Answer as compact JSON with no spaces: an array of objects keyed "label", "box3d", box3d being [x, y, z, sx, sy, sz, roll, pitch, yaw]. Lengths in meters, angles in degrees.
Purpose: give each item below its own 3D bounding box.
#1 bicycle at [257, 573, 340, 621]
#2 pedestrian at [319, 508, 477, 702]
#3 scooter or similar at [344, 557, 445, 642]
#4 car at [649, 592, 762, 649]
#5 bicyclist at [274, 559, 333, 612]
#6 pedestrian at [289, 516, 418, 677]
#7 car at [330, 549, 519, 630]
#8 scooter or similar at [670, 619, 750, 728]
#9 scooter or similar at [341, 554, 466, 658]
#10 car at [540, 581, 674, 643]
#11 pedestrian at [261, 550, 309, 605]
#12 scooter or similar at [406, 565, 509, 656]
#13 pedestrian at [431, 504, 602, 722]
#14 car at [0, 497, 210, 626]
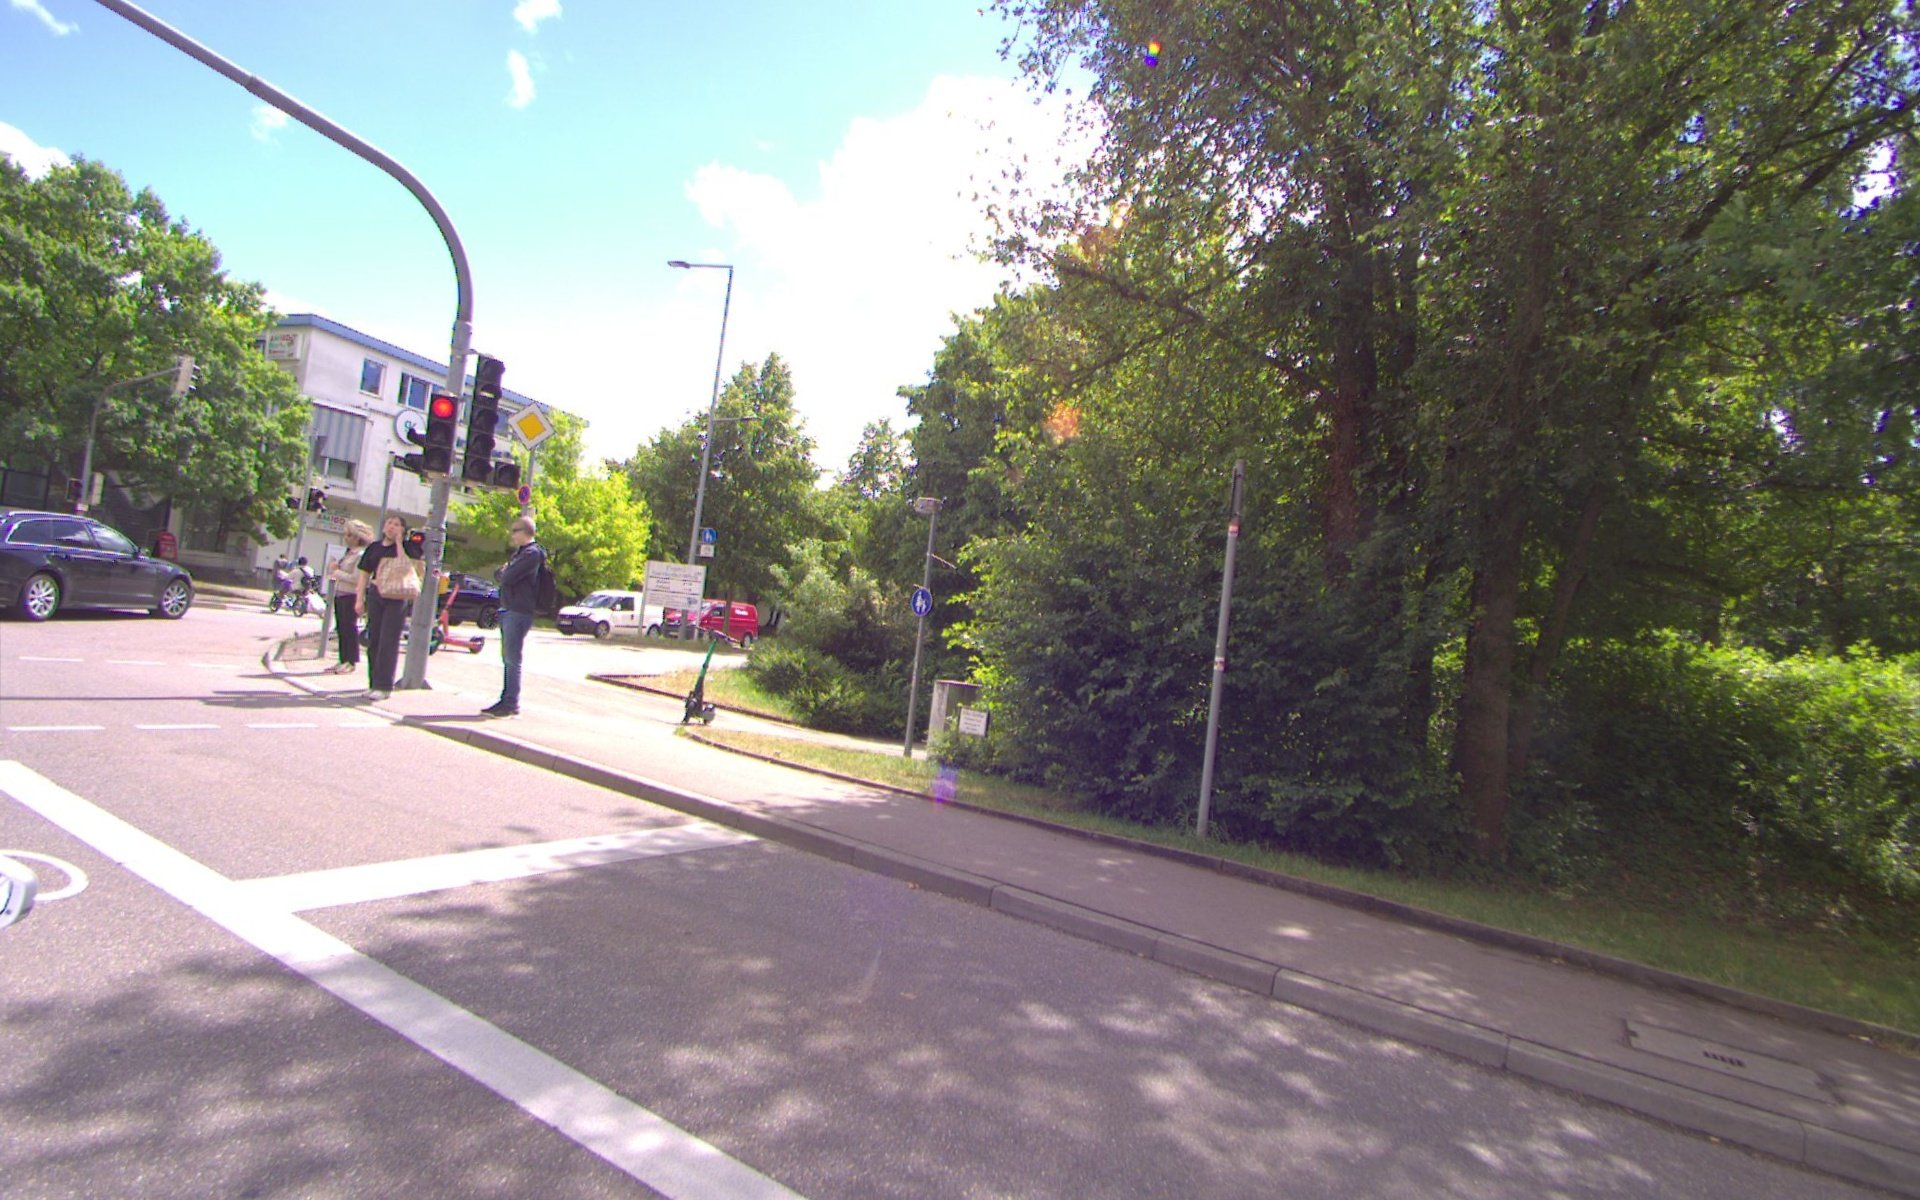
[{"label":"bicycle","box3d":[-14.703,-0.070,22.362,1.778,0.828,0.793,6,-2,32]},{"label":"pedestrian","box3d":[-5.604,0.069,10.070,0.758,1.787,0.936,7,0,20]},{"label":"scooter or similar","box3d":[-8.935,0.025,15.947,0.533,1.168,1.362,9,-3,7]},{"label":"car","box3d":[-10.608,0.899,42.361,1.964,1.885,4.822,5,-3,23]},{"label":"bicyclist","box3d":[-14.525,-0.313,22.268,0.625,1.034,0.793,7,-2,31]},{"label":"pedestrian","box3d":[-6.936,-0.038,11.499,0.950,1.694,0.860,7,-1,-43]},{"label":"car","box3d":[-15.822,-0.252,30.027,1.964,1.737,4.574,7,-2,25]},{"label":"scooter or similar","box3d":[-3.338,1.003,13.530,0.706,1.287,1.243,10,-7,-7]},{"label":"scooter or similar","box3d":[-7.875,0.100,14.283,0.455,1.292,1.344,8,-1,38]},{"label":"car","box3d":[-12.947,0.505,37.209,1.963,1.737,4.576,7,-2,23]},{"label":"pedestrian","box3d":[-22.369,-0.746,33.339,0.758,1.662,0.906,7,-2,30]},{"label":"scooter or similar","box3d":[-7.925,0.189,15.915,0.547,1.254,1.231,8,-3,23]},{"label":"pedestrian","box3d":[-4.337,0.151,9.873,0.881,1.964,0.968,7,-1,28]},{"label":"car","box3d":[-13.040,-0.559,14.179,1.967,1.571,4.516,7,-2,-10]}]
